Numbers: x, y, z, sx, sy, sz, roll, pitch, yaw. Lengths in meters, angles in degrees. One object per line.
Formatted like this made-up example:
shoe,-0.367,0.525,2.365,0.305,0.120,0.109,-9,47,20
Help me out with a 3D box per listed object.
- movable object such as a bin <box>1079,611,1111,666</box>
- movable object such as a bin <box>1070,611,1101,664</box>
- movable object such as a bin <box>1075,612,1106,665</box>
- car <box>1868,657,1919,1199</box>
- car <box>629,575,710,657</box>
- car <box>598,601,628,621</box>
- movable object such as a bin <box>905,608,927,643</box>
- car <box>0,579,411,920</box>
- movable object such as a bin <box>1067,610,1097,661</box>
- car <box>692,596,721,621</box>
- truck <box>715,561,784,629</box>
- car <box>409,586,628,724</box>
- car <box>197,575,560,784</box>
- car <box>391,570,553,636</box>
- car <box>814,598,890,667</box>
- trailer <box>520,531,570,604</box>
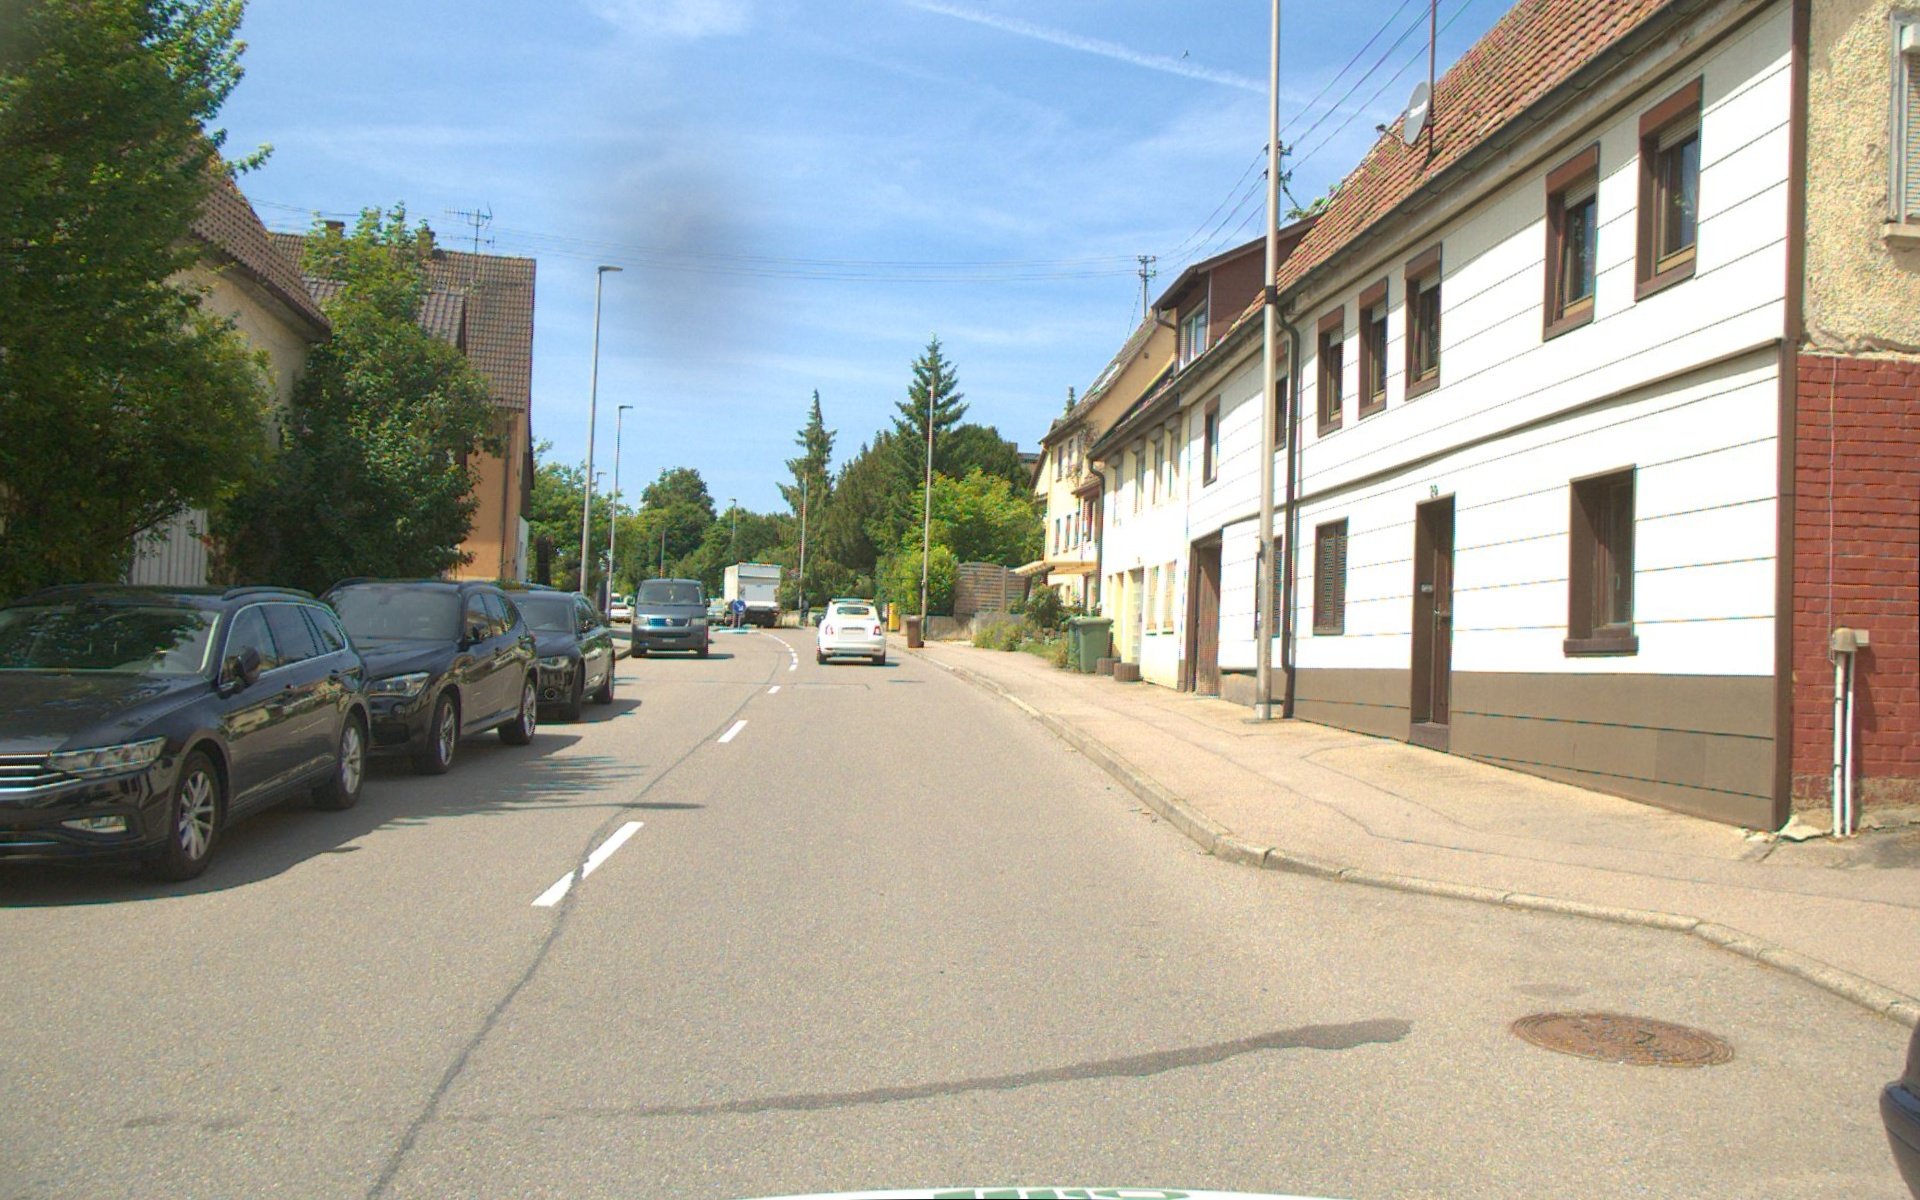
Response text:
movable object such as a bin,2.701,0.765,33.029,0.536,1.051,0.551,-1,0,-5
movable object such as a bin,2.593,0.770,34.230,0.536,1.051,0.551,-1,0,-5
movable object such as a bin,2.651,0.776,33.631,0.536,1.051,0.551,-1,0,-5
car,2.907,0.837,1.542,1.633,1.376,4.184,2,0,-3
car,-7.338,0.395,42.175,1.855,1.971,4.977,0,0,-8
car,-25.181,0.811,119.935,1.776,1.422,3.980,1,-1,-18
movable object such as a bin,-1.356,0.788,50.666,0.484,1.051,0.549,-2,0,16
car,-4.708,0.647,9.542,1.753,1.489,4.708,1,0,-4
movable object such as a bin,2.570,0.745,34.828,0.536,1.051,0.551,-1,0,-5
car,-19.363,0.620,126.184,1.511,1.699,3.980,3,0,-18
truck,-12.741,-0.230,99.532,3.018,3.840,7.835,1,-1,-15
car,-5.333,0.591,20.603,1.783,1.499,4.771,1,0,-5
car,-4.926,0.582,14.688,1.719,1.547,4.300,1,0,-1
car,-13.764,0.085,46.894,4.157,1.429,1.815,6,-1,-13
car,-2.581,0.770,40.265,1.690,1.587,3.998,0,0,-2
trailer,-17.763,-1.327,70.957,1.682,2.898,6.156,2,-1,-11
